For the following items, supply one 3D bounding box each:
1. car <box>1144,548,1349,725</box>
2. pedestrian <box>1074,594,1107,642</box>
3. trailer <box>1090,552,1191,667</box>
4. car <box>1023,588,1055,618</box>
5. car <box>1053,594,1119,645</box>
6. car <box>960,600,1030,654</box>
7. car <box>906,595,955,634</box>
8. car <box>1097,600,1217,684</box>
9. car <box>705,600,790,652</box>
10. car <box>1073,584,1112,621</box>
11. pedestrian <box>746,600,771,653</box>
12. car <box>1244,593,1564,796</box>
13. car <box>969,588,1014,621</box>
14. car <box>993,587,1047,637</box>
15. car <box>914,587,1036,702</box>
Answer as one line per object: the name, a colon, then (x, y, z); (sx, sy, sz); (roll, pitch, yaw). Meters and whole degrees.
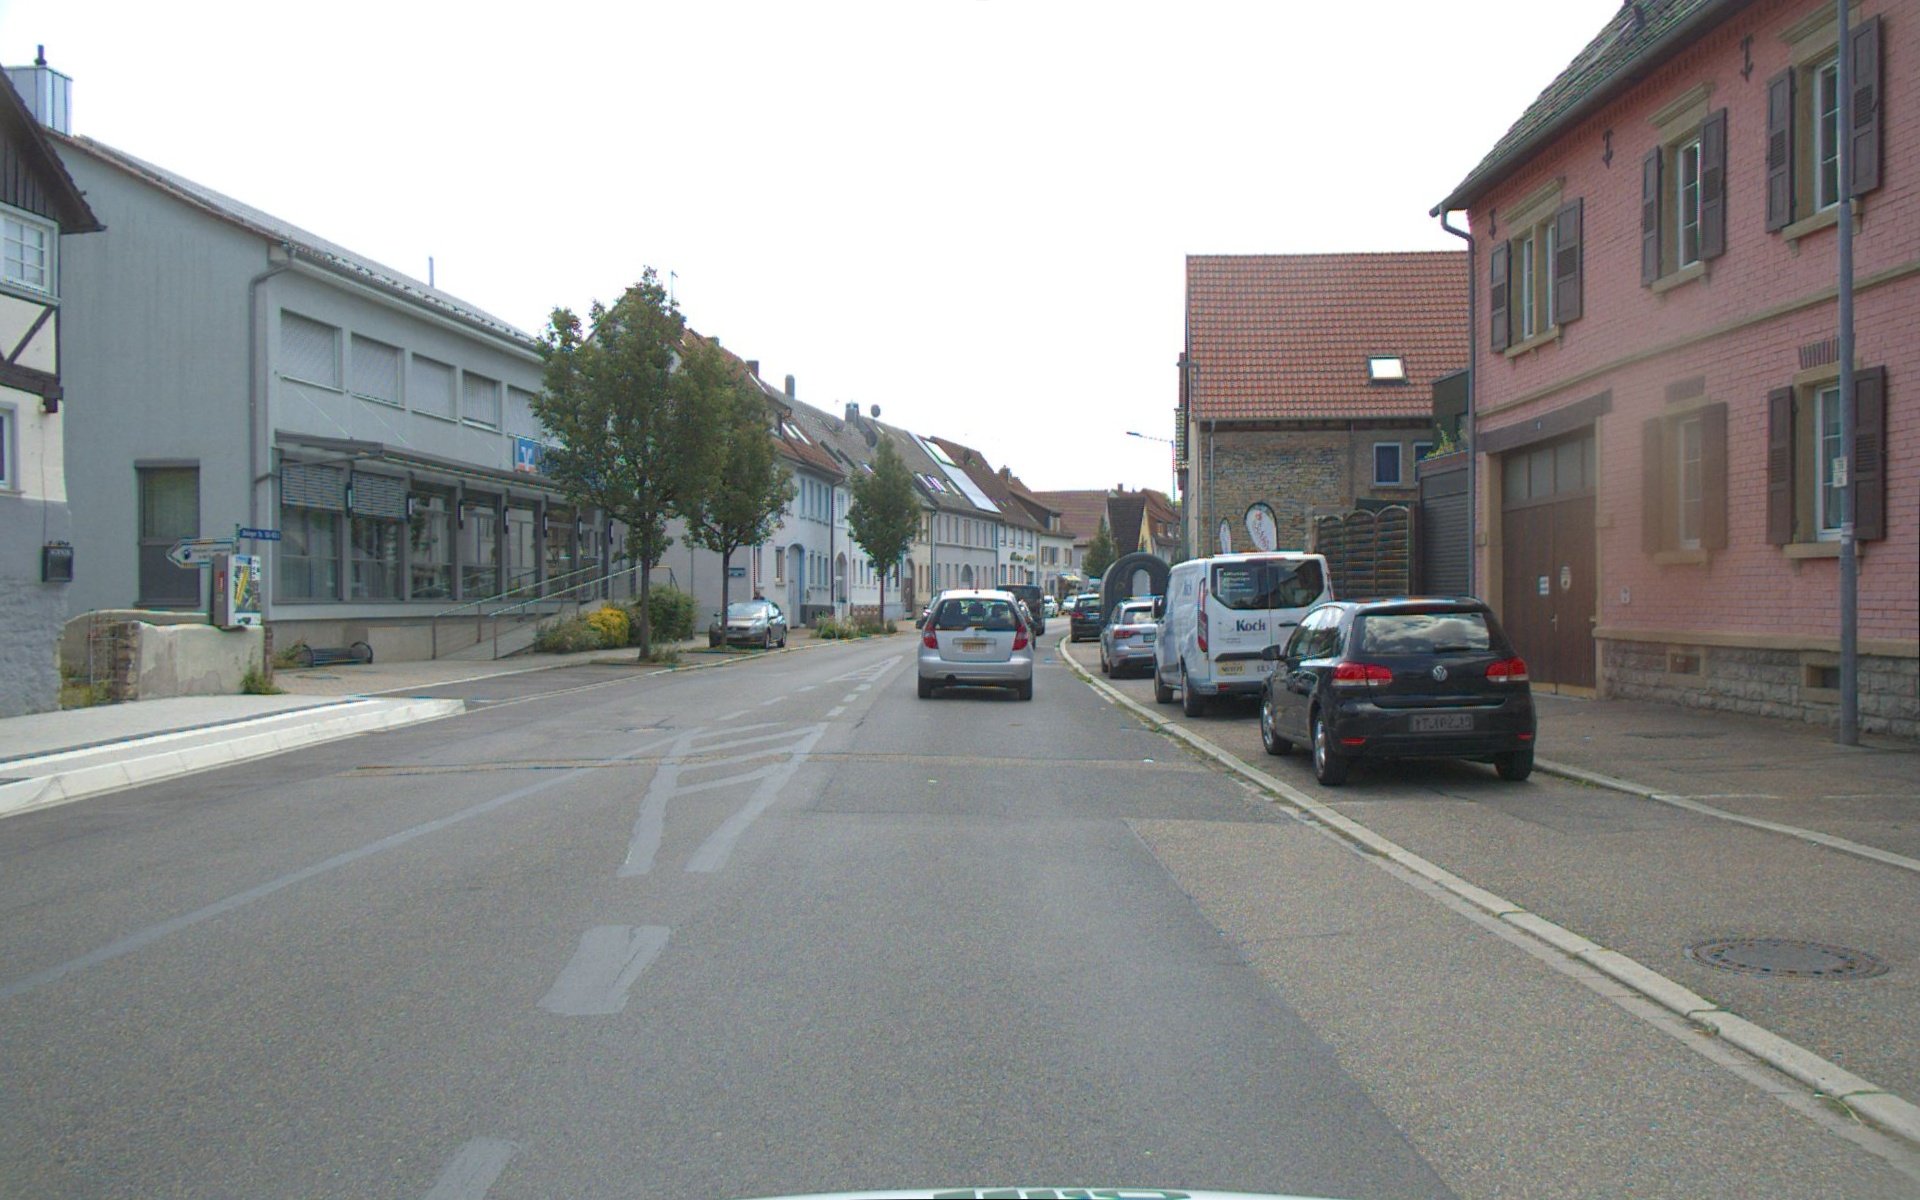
car: (3.725, 0.439, 22.400); (1.853, 2.016, 4.931); (-3, 0, 0)
pedestrian: (5.145, 0.701, 65.108); (1.072, 1.853, 1.470); (-1, 0, 13)
trailer: (4.000, 0.197, 37.169); (1.807, 2.395, 3.589); (-2, 0, 0)
car: (5.718, 0.221, 118.882); (1.951, 2.049, 4.003); (-2, -1, 7)
car: (4.323, 0.645, 56.293); (1.951, 1.586, 4.003); (-2, 0, 8)
car: (1.058, 0.770, 48.074); (1.904, 1.432, 4.001); (2, 0, 3)
car: (-1.261, 0.613, 72.545); (1.706, 1.553, 4.021); (-2, 0, 4)
car: (3.773, 0.756, 32.372); (1.837, 1.507, 4.675); (0, 0, 1)
car: (-6.396, 0.748, 50.162); (1.766, 1.486, 4.160); (0, 0, 4)
car: (8.421, 0.170, 104.520); (2.188, 2.261, 4.003); (-2, -1, 7)
pedestrian: (-7.111, 0.944, 58.359); (0.723, 1.833, 0.642); (-2, -1, 2)
car: (3.764, 0.725, 14.767); (1.738, 1.521, 4.162); (-1, 0, 0)
car: (1.954, 0.279, 100.937); (2.047, 1.917, 4.004); (-1, 0, 11)
car: (2.450, 0.489, 66.404); (1.731, 1.921, 4.450); (1, 0, 7)
car: (0.189, 0.662, 25.924); (1.733, 1.622, 3.999); (2, 0, -1)
